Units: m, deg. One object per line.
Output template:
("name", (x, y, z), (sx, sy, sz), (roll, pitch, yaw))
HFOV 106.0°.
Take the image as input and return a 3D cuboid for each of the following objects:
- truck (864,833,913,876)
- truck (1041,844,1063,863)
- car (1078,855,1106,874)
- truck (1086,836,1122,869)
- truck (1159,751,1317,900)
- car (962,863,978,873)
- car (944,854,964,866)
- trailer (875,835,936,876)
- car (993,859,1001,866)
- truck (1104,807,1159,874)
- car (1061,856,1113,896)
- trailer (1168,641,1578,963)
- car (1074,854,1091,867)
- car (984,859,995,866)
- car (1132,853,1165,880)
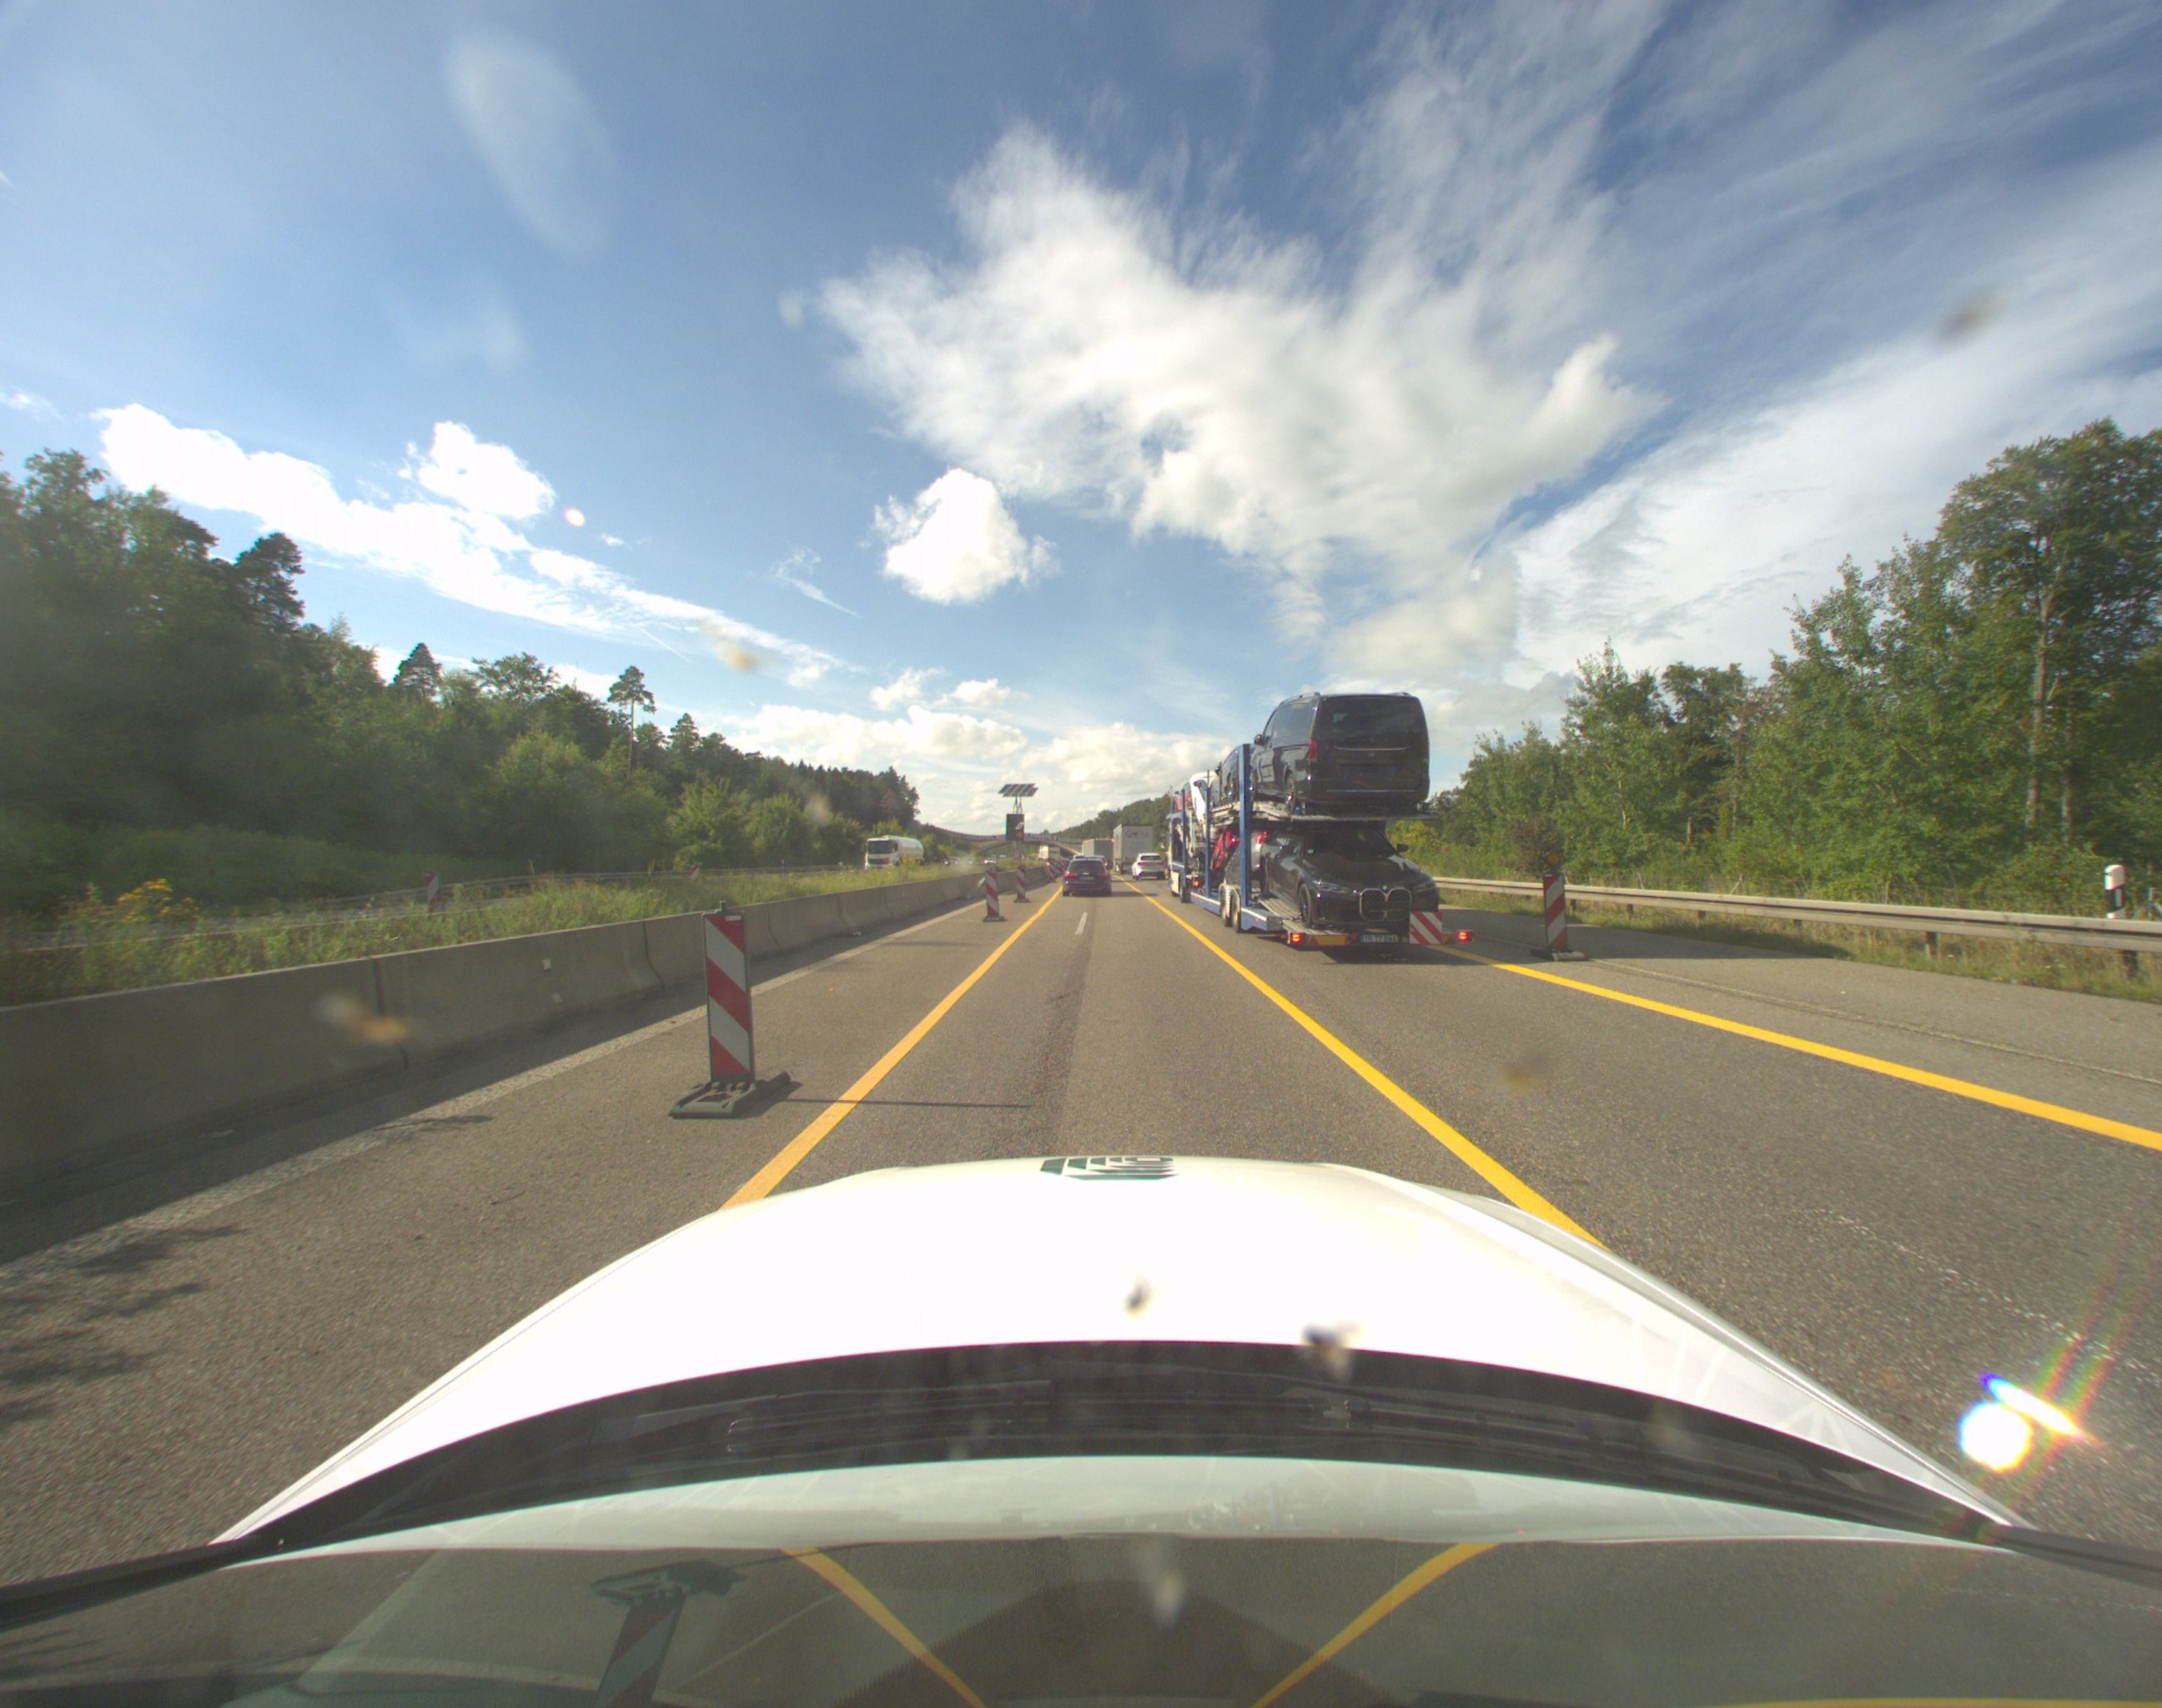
("truck", (-16.102, 0.046, 68.530), (2.774, 3.490, 4.942), (0, -1, 2))
("truck", (-6.324, -0.046, 174.007), (3.652, 3.928, 11.036), (0, 0, -8))
("car", (0.851, 0.844, 65.680), (1.887, 1.446, 3.994), (0, 0, -4))
("truck", (3.254, -0.193, 118.514), (4.309, 4.600, 11.112), (0, 0, -3))
("truck", (4.805, -0.771, 26.995), (3.749, 4.196, 7.950), (0, 0, 0))
("car", (-18.108, 2.239, 132.780), (1.952, 1.588, 4.482), (0, 0, 1))
("car", (-16.707, 0.823, 107.338), (1.771, 1.602, 4.020), (0, 0, 2))
("trailer", (-15.901, 0.157, 74.688), (2.791, 3.489, 11.117), (0, 0, 2))
("car", (-21.626, 2.192, 209.710), (1.773, 1.602, 4.672), (0, 0, -2))
("truck", (4.234, -1.020, 72.939), (3.667, 5.353, 16.192), (0, 0, -1))
("car", (0.302, 0.820, 31.879), (1.883, 1.446, 4.002), (0, 0, 2))
("trailer", (4.681, -0.630, 18.759), (3.714, 4.196, 16.226), (0, 0, 0))
("car", (0.179, 0.786, 105.263), (1.886, 1.643, 4.013), (0, 0, -3))
("car", (-20.292, 1.823, 180.650), (1.771, 1.602, 4.020), (0, 0, 2))
("car", (4.208, 0.772, 51.413), (1.883, 1.643, 4.020), (0, 0, 2))
